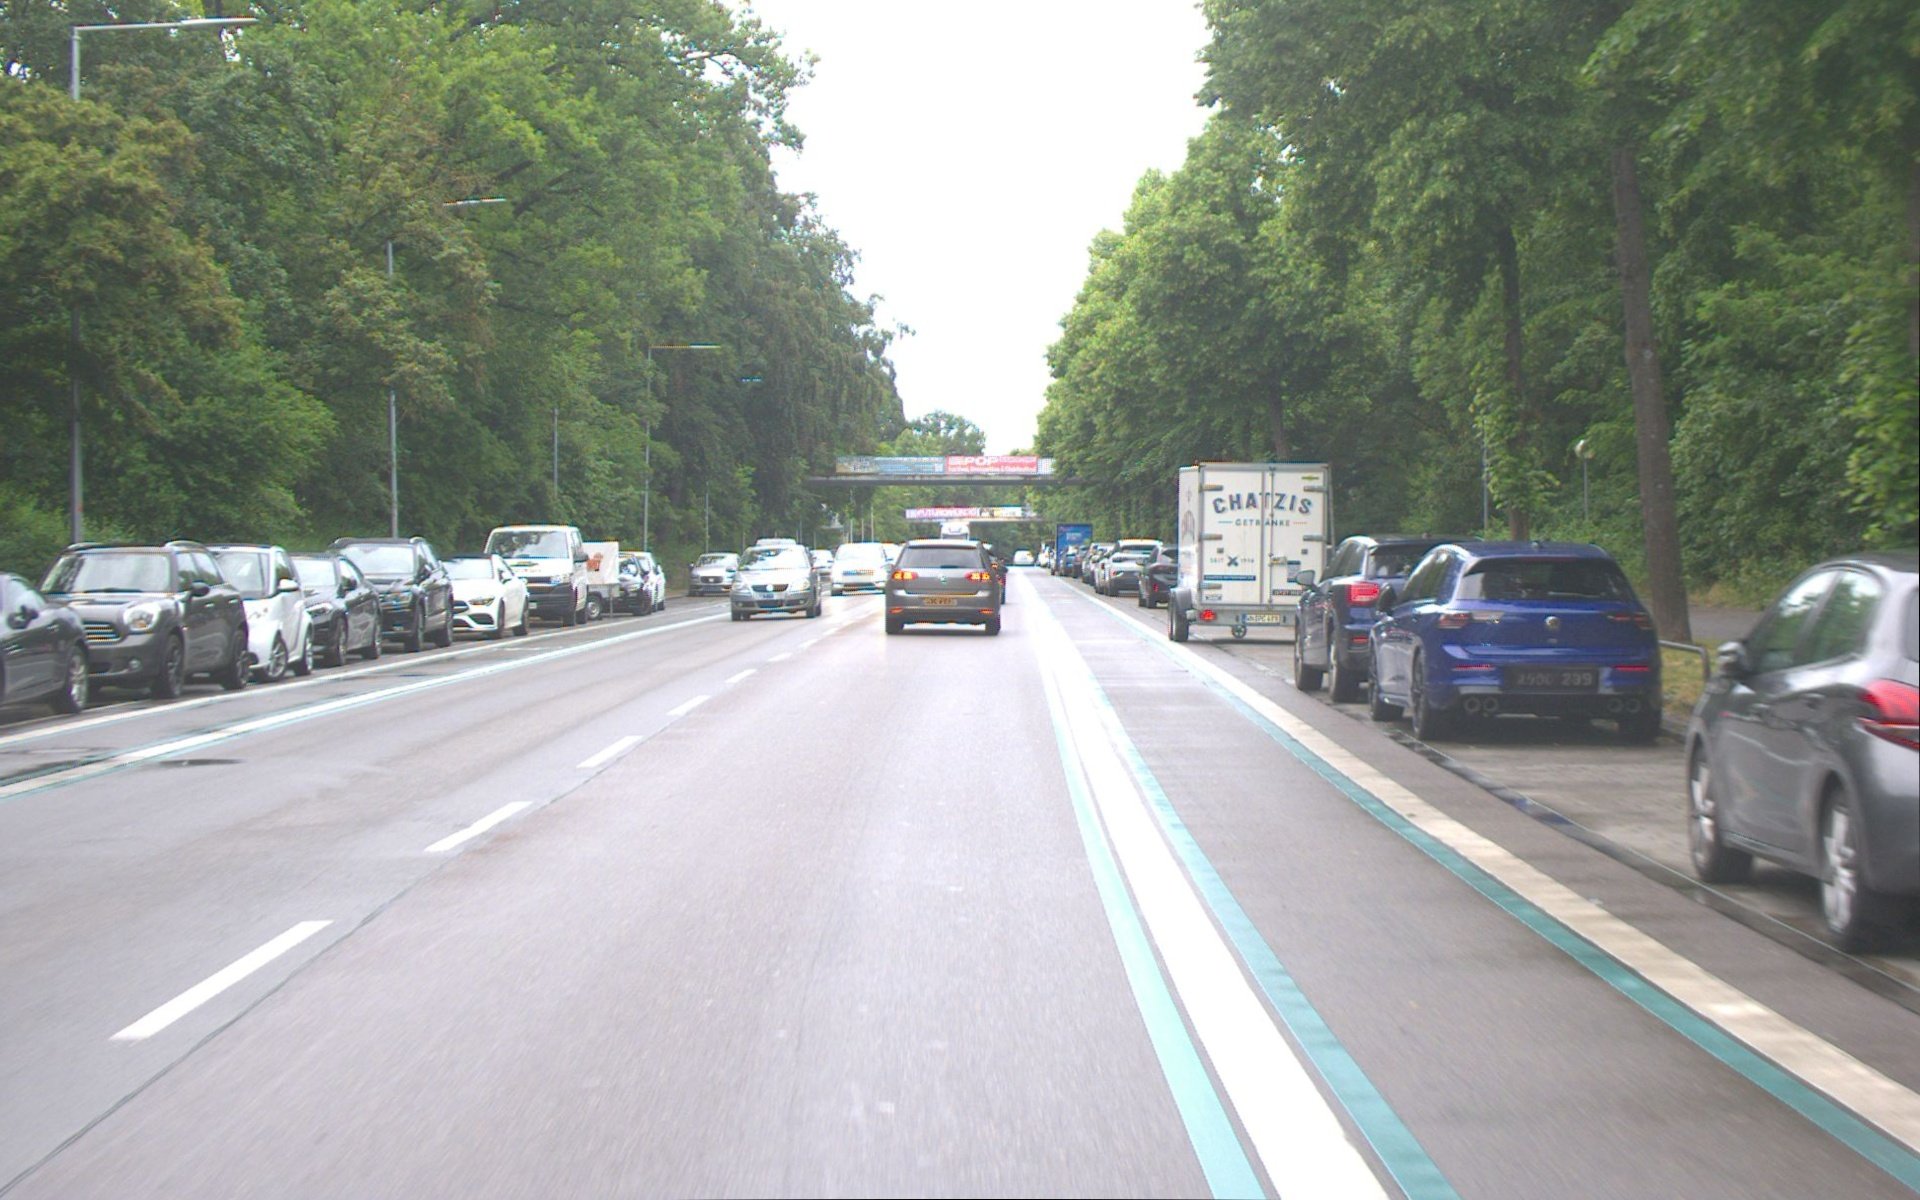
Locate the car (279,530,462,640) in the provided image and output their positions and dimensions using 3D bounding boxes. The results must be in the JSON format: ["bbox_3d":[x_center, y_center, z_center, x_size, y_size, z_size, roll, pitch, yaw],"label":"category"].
[{"bbox_3d":[-8.645,-0.247,50.778,1.879,1.556,4.468,0,1,1],"label":"car"}]

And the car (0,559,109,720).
[{"bbox_3d":[-8.684,0.314,29.302,1.696,1.296,4.192,0,1,2],"label":"car"}]

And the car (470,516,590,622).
[{"bbox_3d":[-8.416,-0.627,67.645,1.939,2.007,4.741,0,1,-2],"label":"car"}]

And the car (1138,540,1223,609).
[{"bbox_3d":[4.980,-0.597,78.098,1.722,1.520,4.000,0,1,1],"label":"car"}]

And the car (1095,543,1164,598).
[{"bbox_3d":[5.031,-0.905,102.427,1.897,1.601,4.000,0,1,1],"label":"car"}]

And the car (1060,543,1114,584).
[{"bbox_3d":[4.883,-1.432,132.913,1.993,1.557,4.000,0,1,1],"label":"car"}]

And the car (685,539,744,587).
[{"bbox_3d":[-8.028,-1.211,112.637,1.672,1.508,3.630,1,1,0],"label":"car"}]

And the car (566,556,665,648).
[{"bbox_3d":[-7.801,0.018,78.176,1.939,2.007,4.741,0,1,-2],"label":"car"}]

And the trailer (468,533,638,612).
[{"bbox_3d":[-8.554,-0.593,72.547,1.628,1.623,3.666,0,1,32],"label":"trailer"}]

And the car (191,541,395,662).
[{"bbox_3d":[-8.595,-0.018,44.657,1.808,1.483,4.468,0,1,0],"label":"car"}]

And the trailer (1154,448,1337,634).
[{"bbox_3d":[4.036,-0.844,49.337,2.132,2.551,4.298,0,1,-2],"label":"trailer"}]

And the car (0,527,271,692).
[{"bbox_3d":[-8.307,0.054,34.818,1.696,1.578,4.139,0,1,2],"label":"car"}]

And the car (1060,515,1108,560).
[{"bbox_3d":[5.646,-2.856,157.028,1.993,2.007,4.000,0,0,0],"label":"car"}]

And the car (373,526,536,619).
[{"bbox_3d":[-8.363,-0.470,57.267,1.993,1.483,4.468,0,1,1],"label":"car"}]

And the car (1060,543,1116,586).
[{"bbox_3d":[4.743,-1.323,128.123,1.993,1.557,4.000,0,1,1],"label":"car"}]

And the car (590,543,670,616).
[{"bbox_3d":[-8.086,-0.520,84.469,1.576,1.764,3.415,0,1,1],"label":"car"}]

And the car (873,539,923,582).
[{"bbox_3d":[-2.277,-1.474,127.150,1.706,1.566,4.000,0,1,1],"label":"car"}]

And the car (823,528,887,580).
[{"bbox_3d":[-3.166,-1.405,104.361,1.835,1.512,4.000,0,1,0],"label":"car"}]

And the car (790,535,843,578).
[{"bbox_3d":[-6.754,-2.057,161.973,2.159,2.007,5.031,0,1,2],"label":"car"}]

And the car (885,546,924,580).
[{"bbox_3d":[-2.595,-1.737,162.126,1.706,1.566,4.000,0,1,1],"label":"car"}]

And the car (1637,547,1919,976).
[{"bbox_3d":[3.901,0.537,13.790,1.615,1.465,4.000,1,1,1],"label":"car"}]

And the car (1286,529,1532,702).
[{"bbox_3d":[4.118,0.099,32.053,1.713,1.507,3.976,0,1,-1],"label":"car"}]

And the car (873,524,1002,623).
[{"bbox_3d":[-0.386,-0.382,53.405,1.871,1.436,4.296,1,0,-2],"label":"car"}]

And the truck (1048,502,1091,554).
[{"bbox_3d":[5.484,-3.603,172.699,2.113,2.590,4.301,0,1,1],"label":"truck"}]

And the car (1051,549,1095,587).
[{"bbox_3d":[5.422,-1.532,164.912,1.993,1.766,4.000,-2,0,1],"label":"car"}]

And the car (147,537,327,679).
[{"bbox_3d":[-8.272,0.057,39.507,1.461,1.566,2.984,0,1,-1],"label":"car"}]

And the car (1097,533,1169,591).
[{"bbox_3d":[4.892,-1.100,97.810,1.897,1.601,4.000,0,1,1],"label":"car"}]

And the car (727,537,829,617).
[{"bbox_3d":[-3.526,-0.468,67.255,1.698,1.480,4.035,-1,1,1],"label":"car"}]

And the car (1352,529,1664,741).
[{"bbox_3d":[4.122,0.203,26.471,1.682,1.476,4.319,1,1,0],"label":"car"}]

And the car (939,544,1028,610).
[{"bbox_3d":[0.541,-0.569,82.684,1.880,1.461,4.001,2,1,-3],"label":"car"}]

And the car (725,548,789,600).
[{"bbox_3d":[-8.098,-1.065,137.650,2.159,2.007,5.031,0,1,2],"label":"car"}]
